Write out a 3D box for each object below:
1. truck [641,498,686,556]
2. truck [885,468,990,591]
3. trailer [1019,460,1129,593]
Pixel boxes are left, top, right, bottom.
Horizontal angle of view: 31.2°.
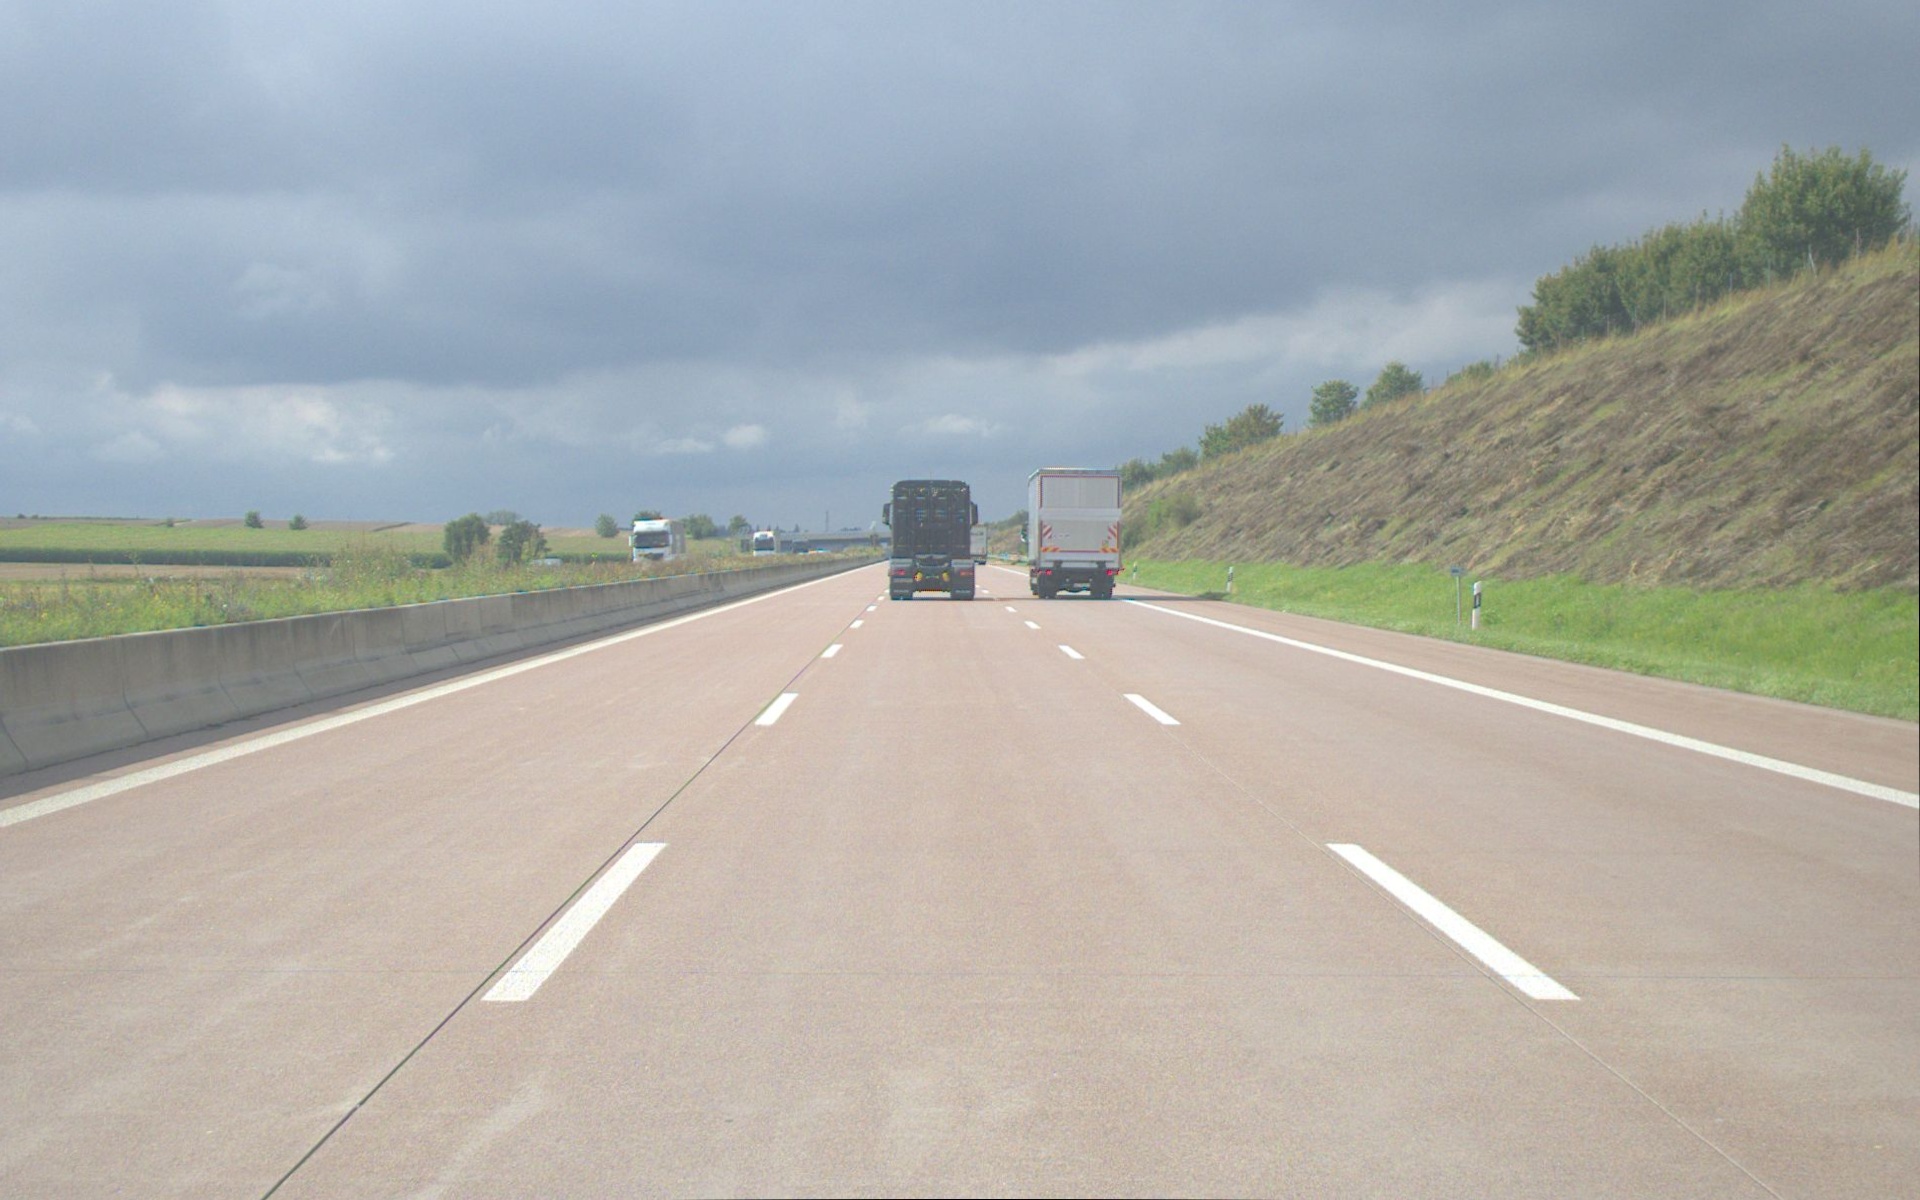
[{"bbox_3d":[-20.685,-5.074,239.824,2.770,3.945,5.291,-1,1,-1],"label":"truck"},{"bbox_3d":[-0.742,-2.091,103.725,2.847,3.537,8.320,1,1,-2],"label":"truck"},{"bbox_3d":[3.525,-2.273,108.301,2.747,3.998,8.671,1,1,-2],"label":"trailer"}]
